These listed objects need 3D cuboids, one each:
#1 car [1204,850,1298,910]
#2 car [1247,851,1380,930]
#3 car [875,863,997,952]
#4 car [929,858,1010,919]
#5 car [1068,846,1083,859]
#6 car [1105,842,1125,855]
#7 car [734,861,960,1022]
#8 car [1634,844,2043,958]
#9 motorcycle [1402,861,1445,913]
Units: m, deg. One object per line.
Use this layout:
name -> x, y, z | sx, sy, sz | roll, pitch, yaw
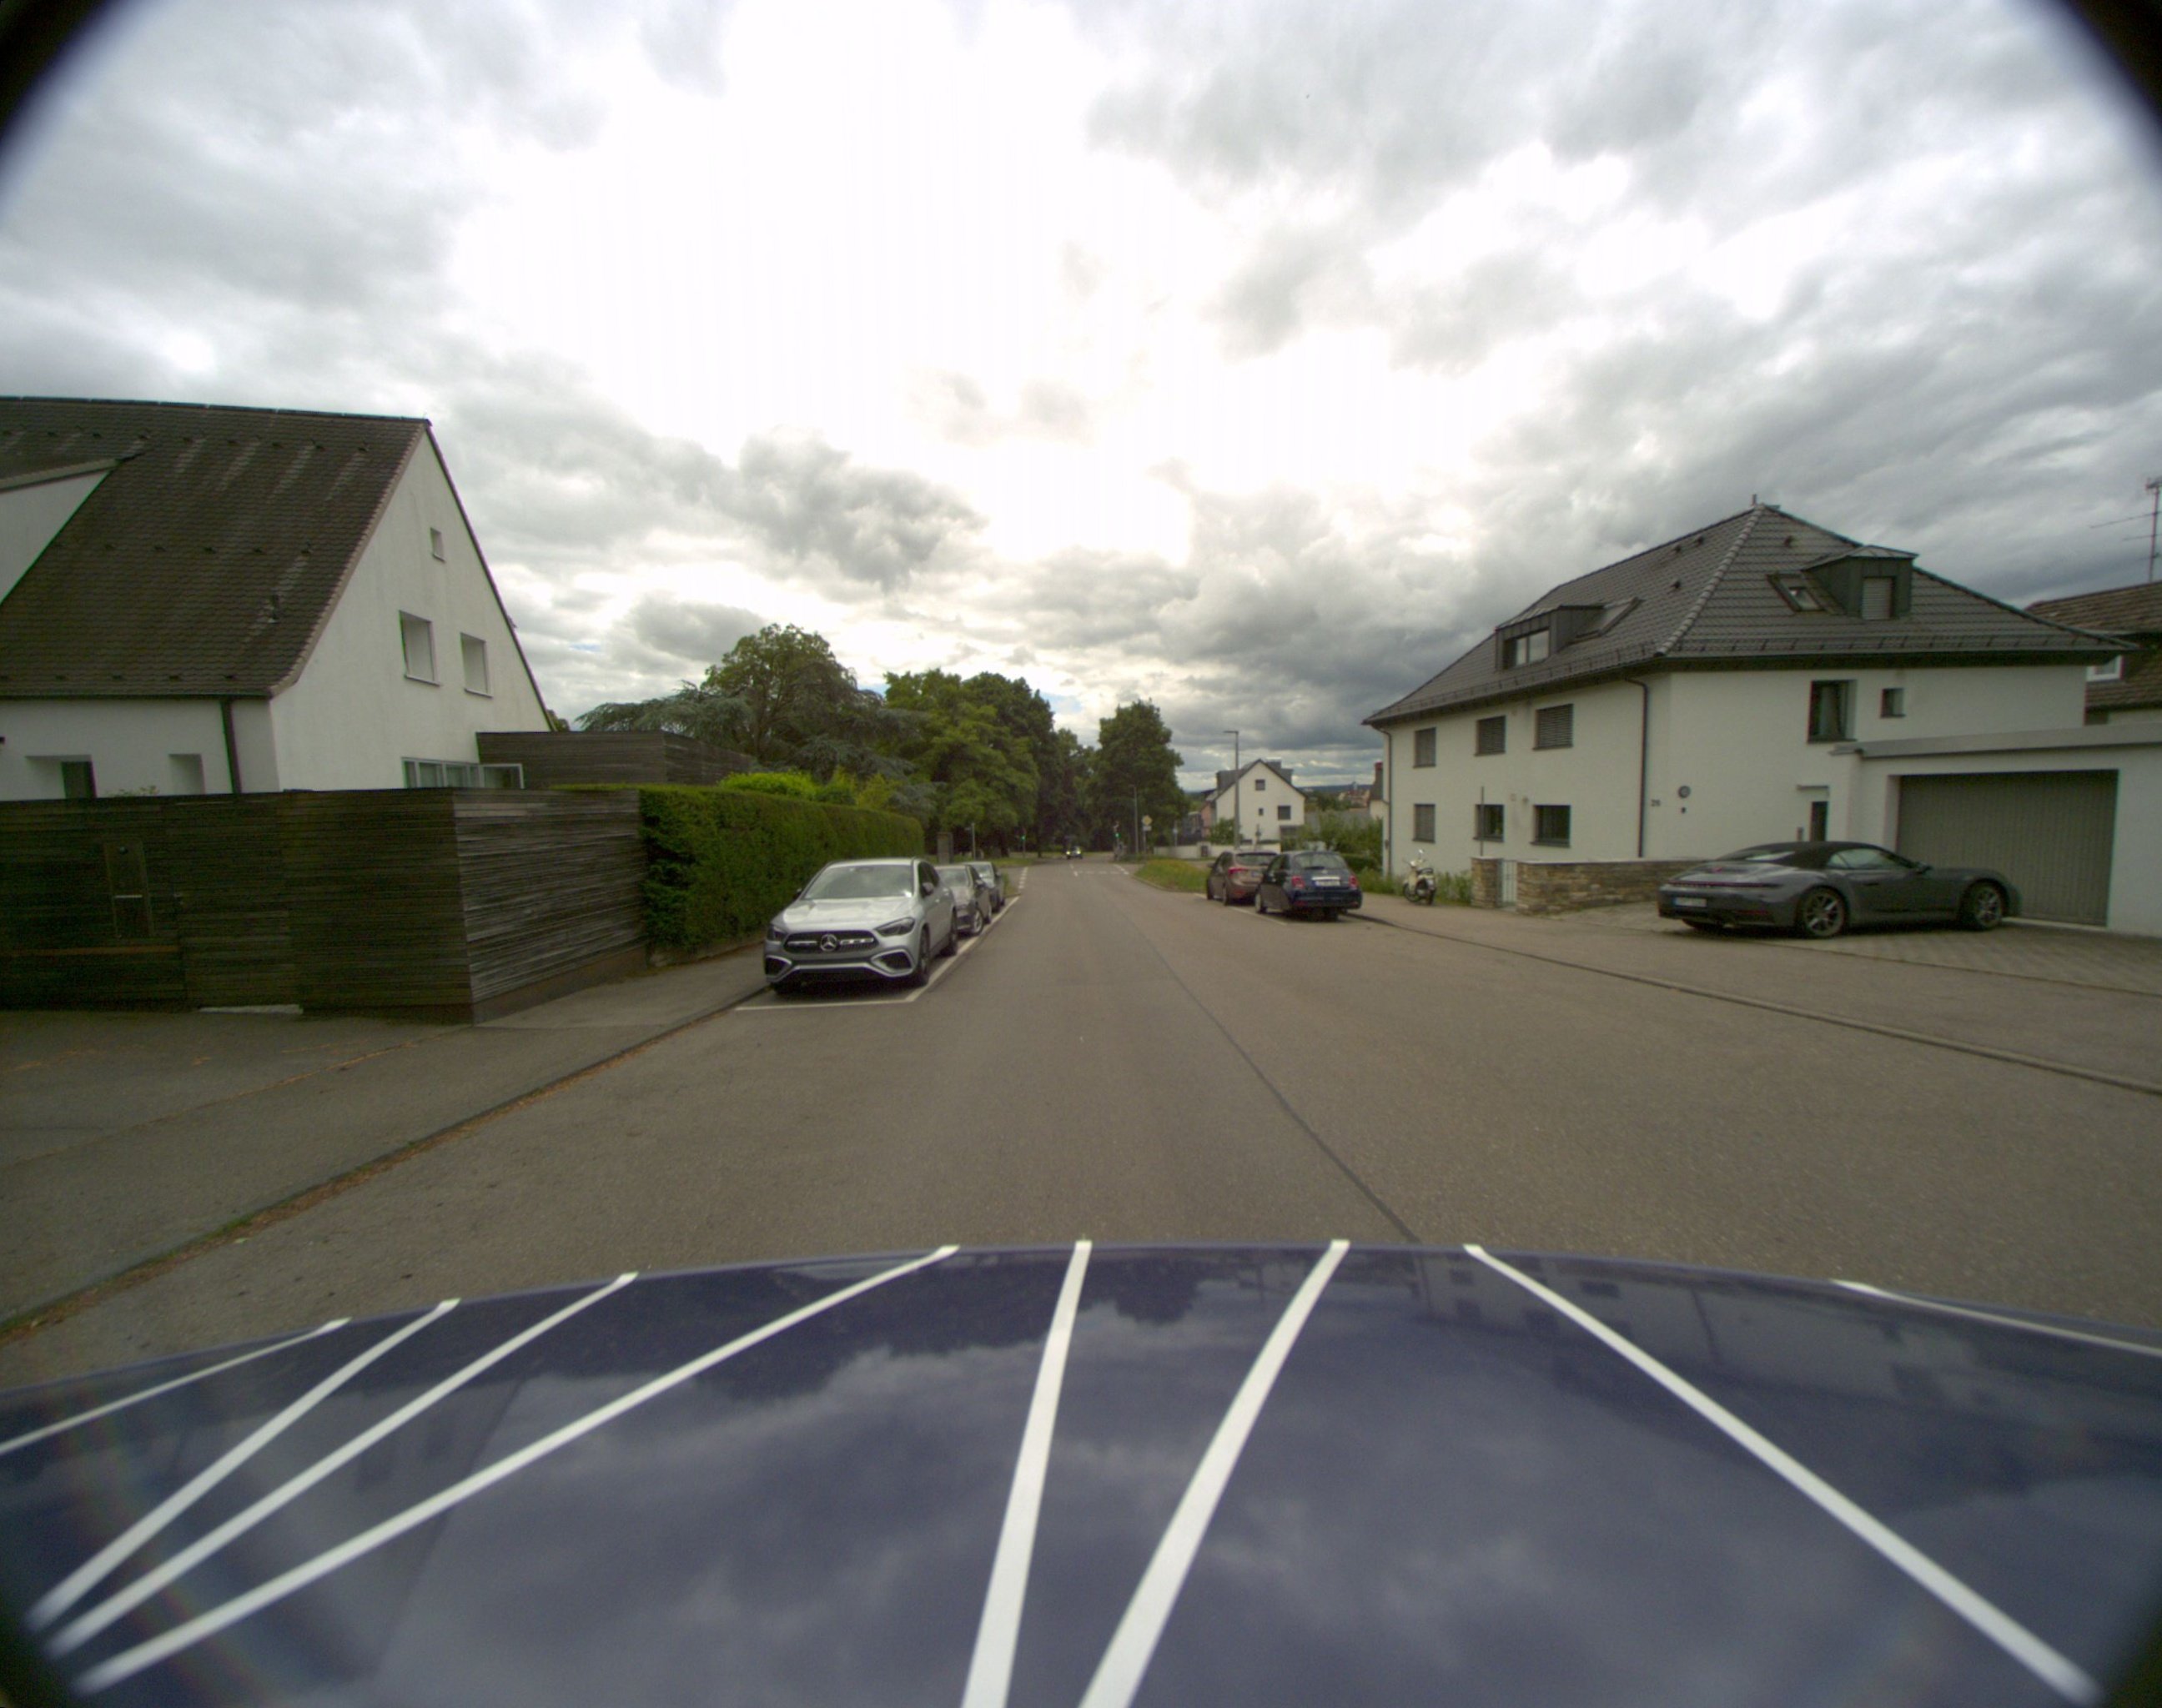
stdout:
car -> 4.884, 0.687, 22.372 | 1.882, 1.576, 3.871 | -2, 1, 0
car -> 5.072, 0.734, 17.071 | 1.882, 1.528, 3.507 | -2, 1, 0
car -> -2.887, 1.010, 16.029 | 1.860, 1.455, 4.170 | -3, 1, -2
car -> -3.125, 0.932, 22.051 | 1.860, 1.455, 3.998 | -3, 1, -2
car -> -0.660, -0.169, 92.321 | 1.568, 1.504, 3.398 | -2, 0, 5
car -> 4.676, -0.738, 103.263 | 1.996, 1.544, 4.003 | 1, 3, 14
car -> -2.873, 0.970, 10.353 | 1.860, 1.573, 4.170 | -3, 1, -2
car -> 10.791, 0.609, 11.015 | 4.299, 1.360, 1.903 | -2, 0, -6
motorcycle -> 8.423, 0.786, 18.752 | 0.430, 1.154, 1.863 | 0, 2, 7
